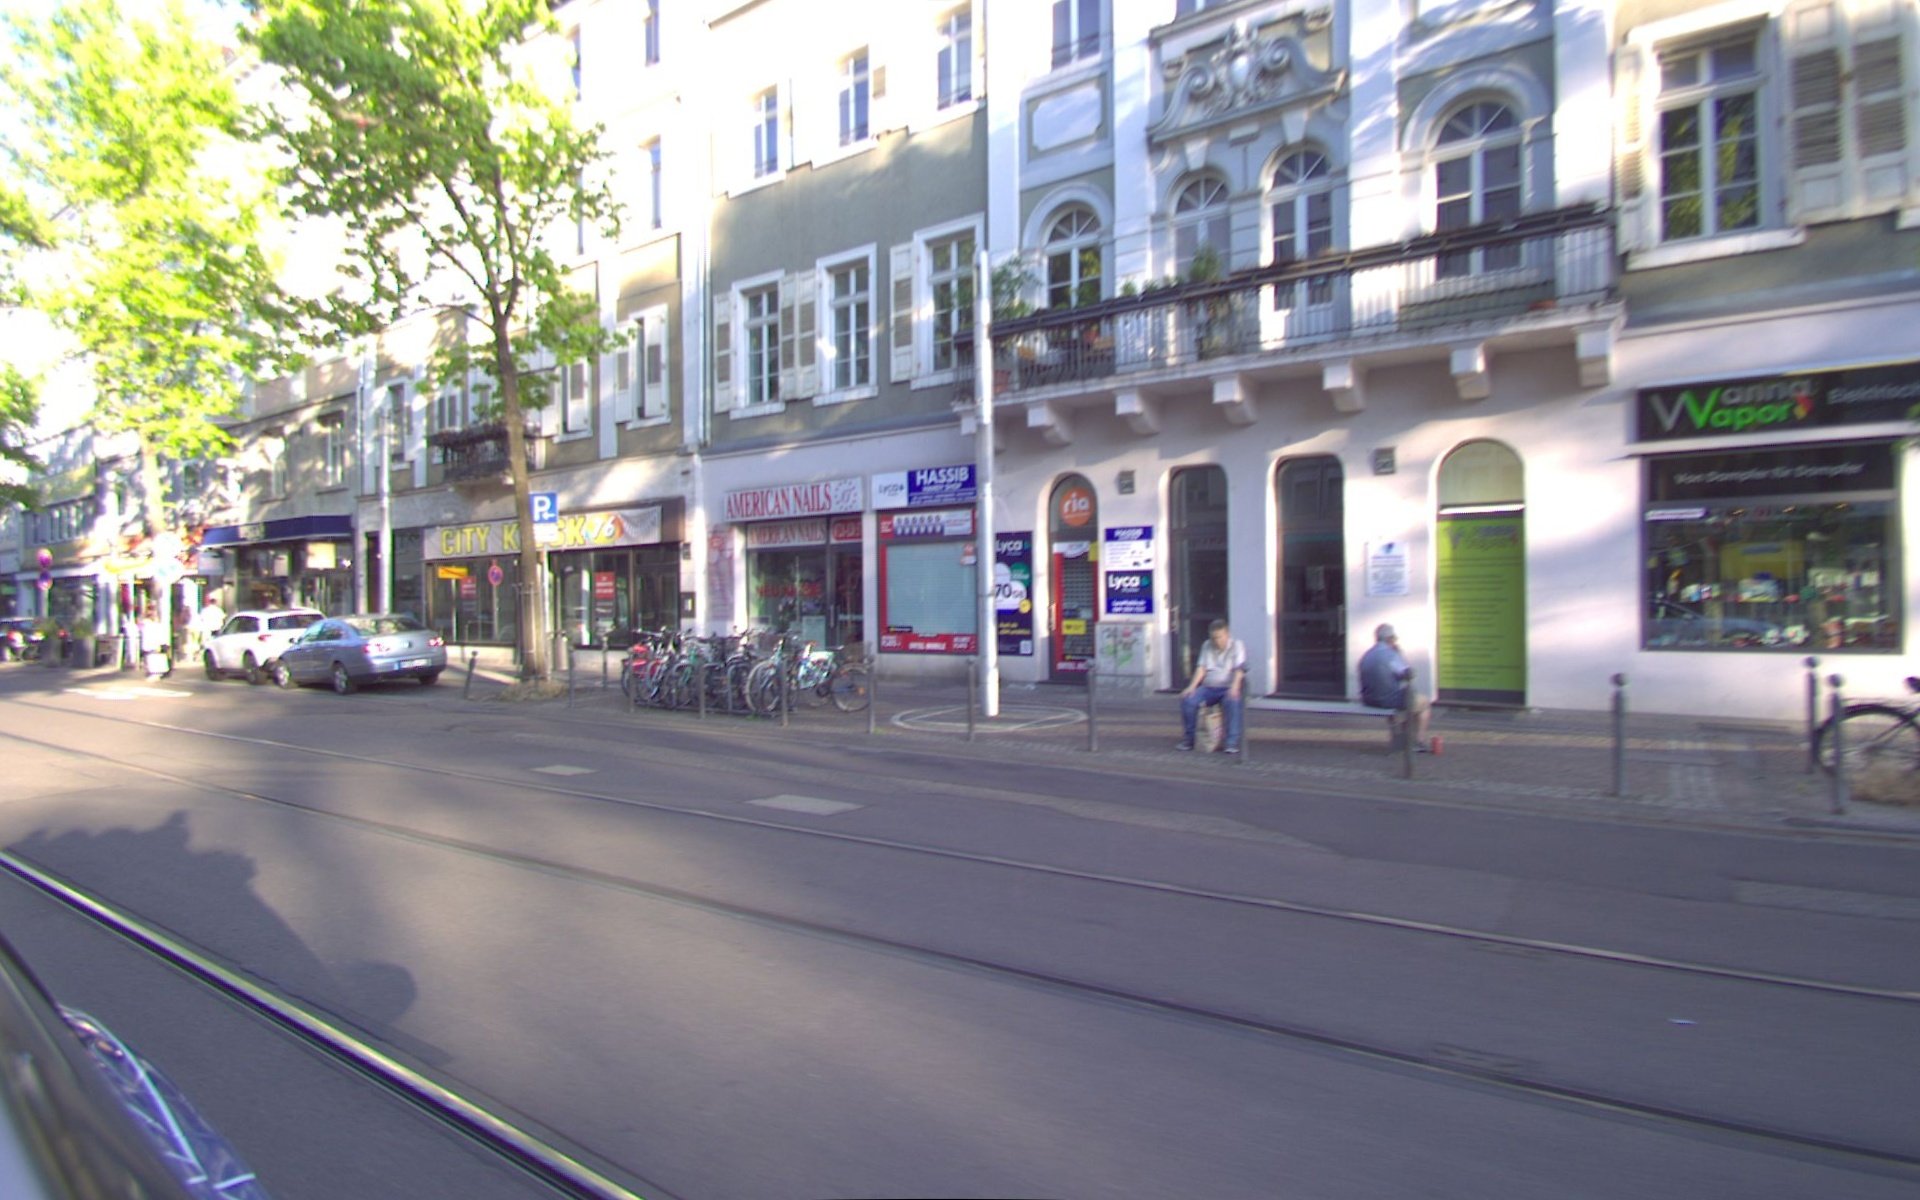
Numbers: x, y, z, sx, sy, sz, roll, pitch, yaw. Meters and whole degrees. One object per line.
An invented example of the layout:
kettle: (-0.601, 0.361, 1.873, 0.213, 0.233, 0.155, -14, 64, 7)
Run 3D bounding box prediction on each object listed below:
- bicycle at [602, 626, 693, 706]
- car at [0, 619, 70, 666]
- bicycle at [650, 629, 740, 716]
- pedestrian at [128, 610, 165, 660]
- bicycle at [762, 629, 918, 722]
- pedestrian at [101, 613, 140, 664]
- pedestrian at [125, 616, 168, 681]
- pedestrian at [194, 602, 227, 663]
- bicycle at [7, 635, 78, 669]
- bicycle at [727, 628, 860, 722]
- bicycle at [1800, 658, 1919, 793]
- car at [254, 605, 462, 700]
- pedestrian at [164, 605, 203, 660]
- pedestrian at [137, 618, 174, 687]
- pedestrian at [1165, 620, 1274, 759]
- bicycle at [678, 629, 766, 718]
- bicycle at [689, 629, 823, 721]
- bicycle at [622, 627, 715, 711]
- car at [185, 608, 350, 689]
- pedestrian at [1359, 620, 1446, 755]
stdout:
bicycle: (-5.009, 1.031, 16.352, 0.561, 1.113, 1.945, -1, 1, 10)
car: (-32.149, 1.424, 34.624, 3.818, 1.439, 1.652, -1, 2, 35)
bicycle: (-3.970, 1.051, 15.312, 0.495, 1.113, 2.024, -1, 1, 10)
pedestrian: (-28.329, 1.226, 35.222, 0.911, 1.706, 0.782, -1, -1, 35)
bicycle: (-1.604, 0.986, 13.581, 1.995, 1.113, 0.503, -2, 1, -20)
pedestrian: (-28.343, 1.283, 34.161, 0.738, 1.706, 0.836, -1, -1, 34)
pedestrian: (-19.428, 1.136, 24.172, 0.728, 1.521, 0.614, 0, -1, 36)
pedestrian: (-25.026, 1.072, 33.793, 0.641, 2.029, 0.715, -1, -1, 35)
bicycle: (-29.102, 1.643, 32.123, 0.432, 0.972, 1.599, -2, 1, 40)
bicycle: (-2.282, 1.008, 14.128, 0.500, 1.113, 2.004, 0, 2, 38)
bicycle: (7.086, 0.909, 7.326, 1.507, 0.953, 0.333, -2, -1, 36)
car: (-12.145, 0.986, 20.314, 4.692, 1.591, 1.820, -1, 3, 36)
pedestrian: (-25.475, 1.069, 33.195, 1.087, 1.774, 0.715, -1, -1, 36)
pedestrian: (-18.830, 1.205, 23.690, 0.632, 1.581, 0.516, 0, -1, 36)
pedestrian: (2.616, 0.865, 10.173, 0.854, 1.300, 0.722, -2, 0, 33)
bicycle: (-3.481, 1.039, 14.965, 0.495, 1.113, 2.024, -1, 1, 10)
bicycle: (-2.849, 1.021, 14.339, 0.500, 1.113, 2.004, 0, 2, 38)
bicycle: (-4.469, 1.024, 15.688, 0.495, 1.113, 2.109, -1, 1, 10)
car: (-16.095, 1.080, 23.468, 4.108, 1.591, 1.820, -1, 3, 36)
pedestrian: (4.180, 0.800, 9.556, 0.640, 1.203, 0.586, -2, 0, 33)
